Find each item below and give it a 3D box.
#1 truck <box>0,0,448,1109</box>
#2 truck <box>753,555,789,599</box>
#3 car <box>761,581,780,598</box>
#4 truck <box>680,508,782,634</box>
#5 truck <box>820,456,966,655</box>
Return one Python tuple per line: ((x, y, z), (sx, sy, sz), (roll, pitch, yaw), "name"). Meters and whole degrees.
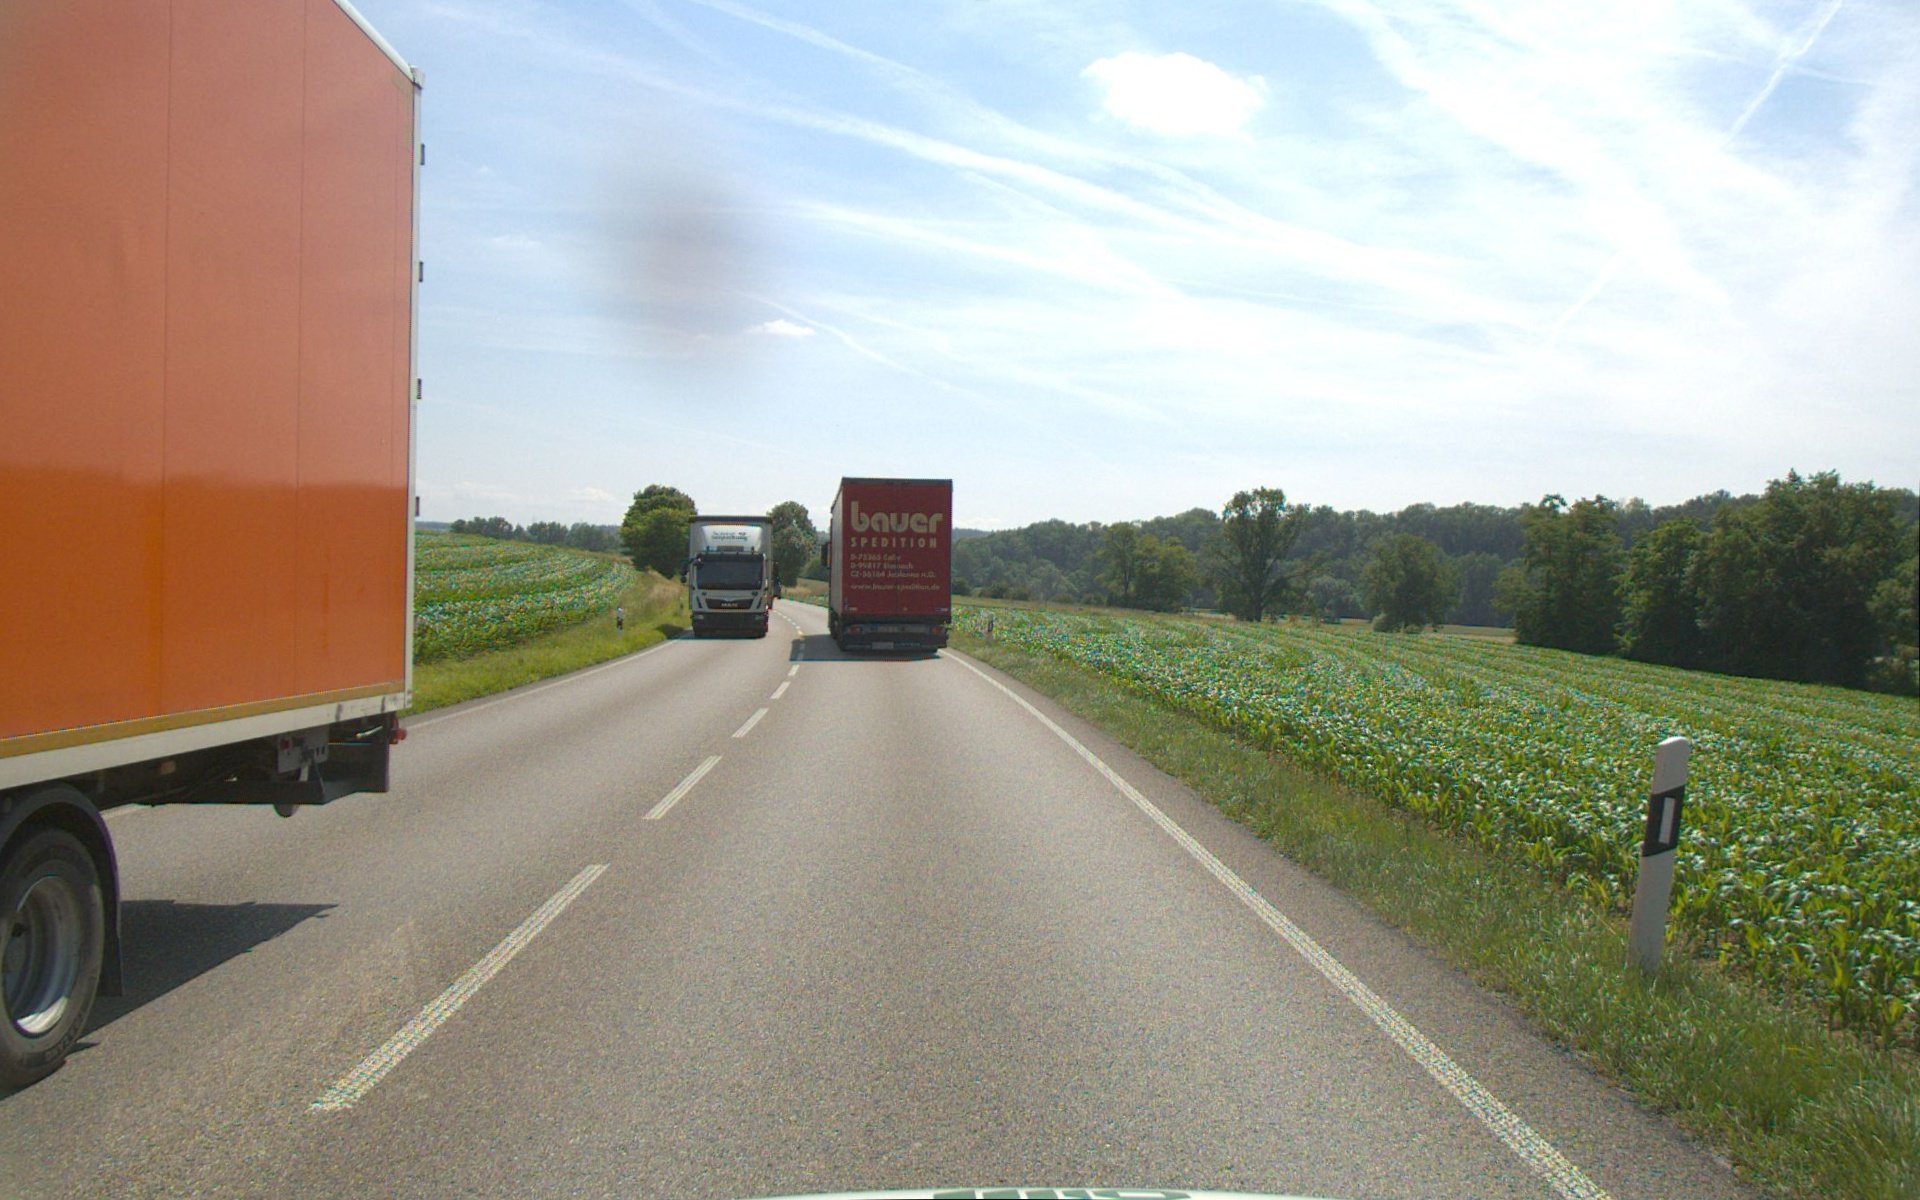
((-3.782, -0.642, 0.160), (2.715, 4.068, 17.021), (1, 0, -2), "truck")
((-19.823, -2.342, 173.223), (3.571, 4.367, 11.967), (0, -1, -7), "truck")
((-17.119, -0.958, 149.363), (1.552, 1.527, 3.869), (1, 0, -8), "car")
((-7.224, -0.882, 53.260), (2.688, 3.641, 9.716), (1, 0, -5), "truck")
((-1.837, -0.977, 40.979), (3.035, 4.337, 8.304), (2, 0, -6), "truck")
